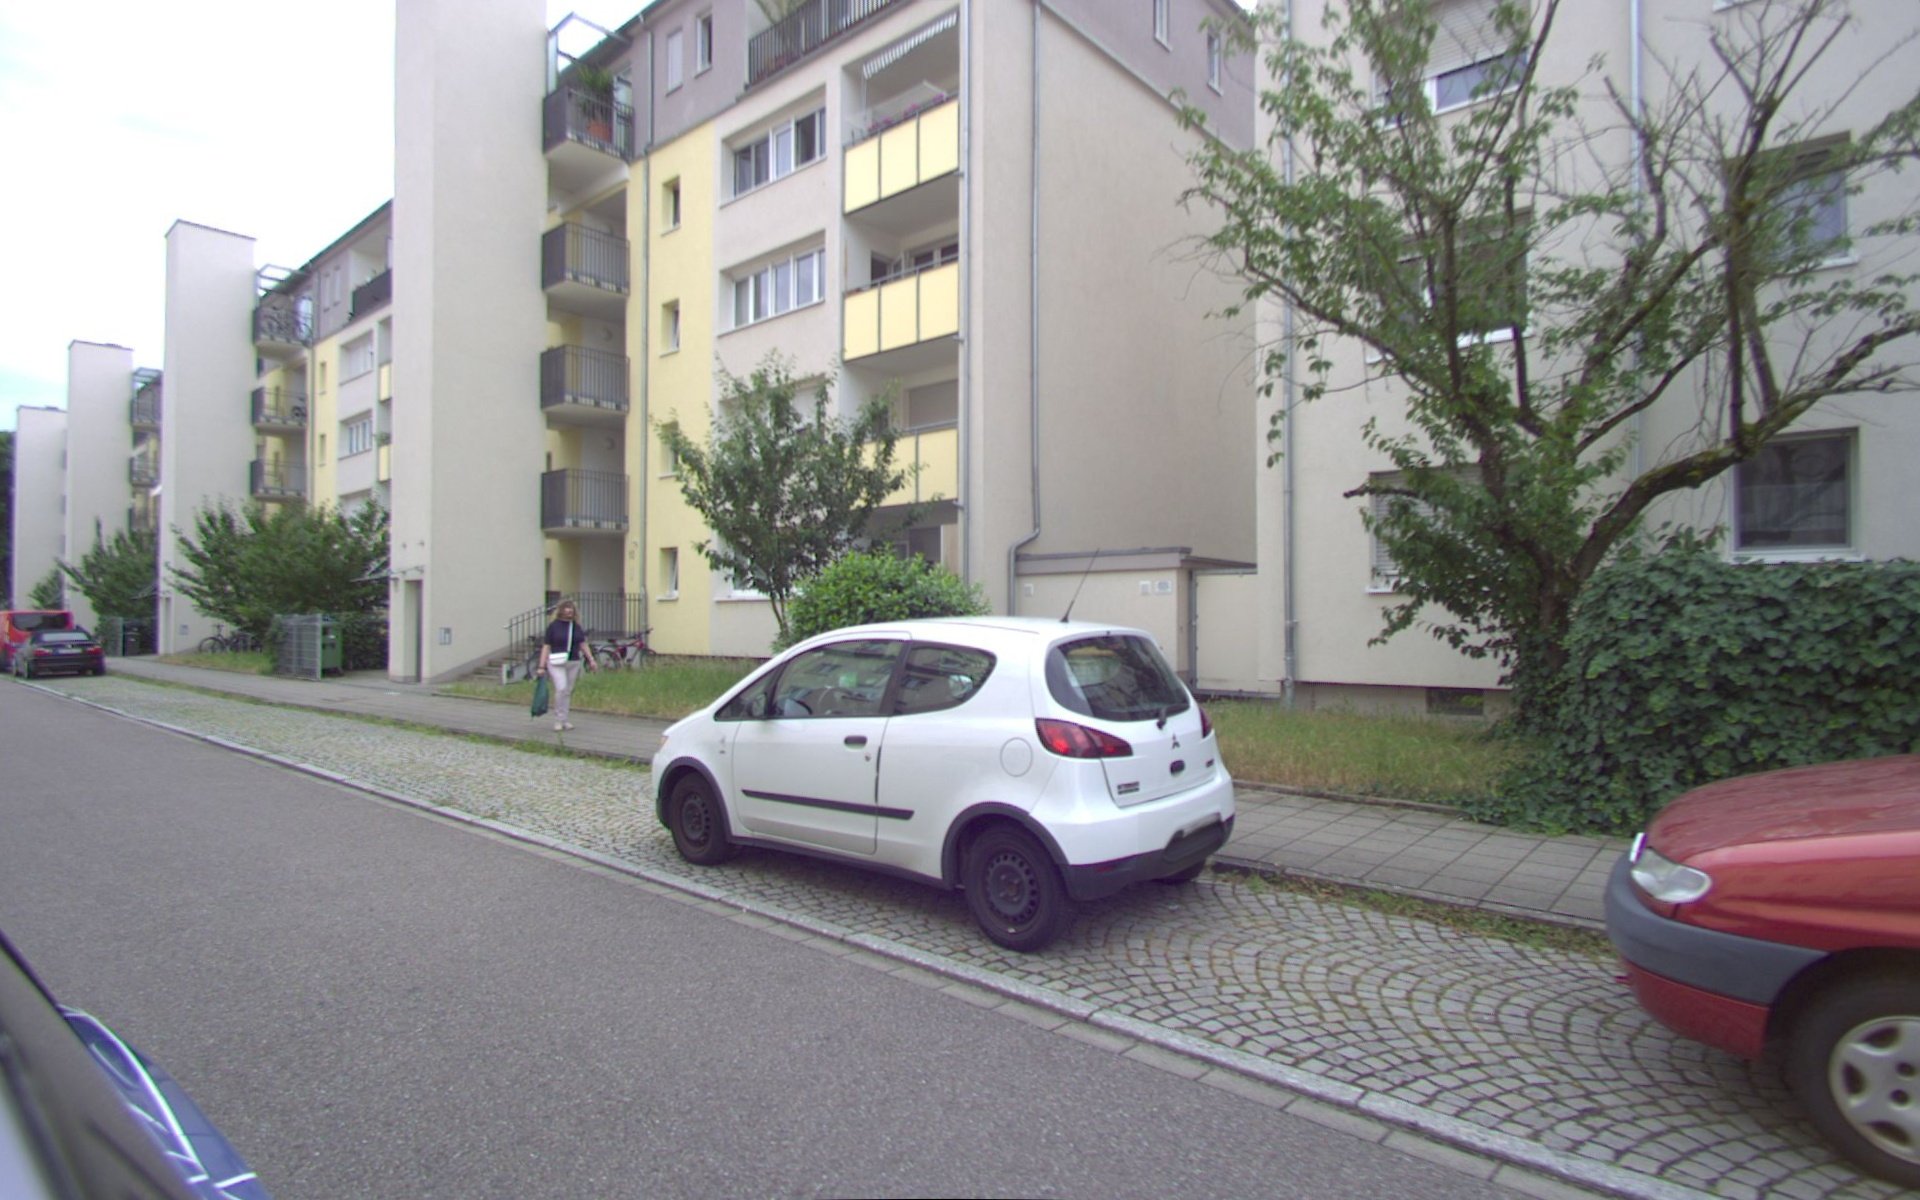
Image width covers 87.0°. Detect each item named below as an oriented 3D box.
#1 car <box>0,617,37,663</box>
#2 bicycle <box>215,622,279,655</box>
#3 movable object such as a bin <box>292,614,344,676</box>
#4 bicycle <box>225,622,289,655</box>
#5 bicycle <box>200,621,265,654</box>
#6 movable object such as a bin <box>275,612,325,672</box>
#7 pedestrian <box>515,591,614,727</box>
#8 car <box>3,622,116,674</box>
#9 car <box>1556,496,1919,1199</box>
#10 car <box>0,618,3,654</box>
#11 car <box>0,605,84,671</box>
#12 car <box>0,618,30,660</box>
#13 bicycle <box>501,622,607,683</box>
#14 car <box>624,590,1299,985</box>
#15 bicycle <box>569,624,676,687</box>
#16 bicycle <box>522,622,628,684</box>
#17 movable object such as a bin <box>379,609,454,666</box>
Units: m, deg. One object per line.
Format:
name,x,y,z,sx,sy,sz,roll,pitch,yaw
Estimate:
car,-34.859,1.442,36.648,4.052,1.582,1.702,-1,1,42
bicycle,-25.702,1.365,36.522,0.570,1.127,1.814,-1,-1,43
movable object such as a bin,-15.428,1.063,24.321,0.794,1.440,1.289,0,-1,-45
bicycle,-24.939,1.353,35.912,1.812,1.127,0.571,0,-1,-42
bicycle,-26.399,1.365,36.747,0.604,1.127,1.816,-1,-1,40
movable object such as a bin,-16.466,1.023,25.239,1.288,1.440,0.794,-1,-1,44
pedestrian,-4.975,0.720,12.728,0.945,1.622,0.792,-1,-1,37
car,-25.974,1.326,29.145,4.359,1.333,1.851,-1,0,40
car,4.094,0.603,2.410,4.357,1.784,1.937,-1,0,39
car,-42.783,1.566,43.921,3.896,1.542,1.635,-1,1,44
car,-30.599,1.188,33.093,4.917,1.968,2.130,-1,1,40
car,-38.532,1.527,40.073,4.857,1.582,1.816,-1,1,39
bicycle,-8.128,1.030,20.367,0.621,1.150,2.007,-1,-1,32
car,-0.207,0.782,6.055,3.869,1.582,1.702,-1,1,42
bicycle,-6.590,1.057,19.853,0.622,1.150,2.003,-1,-1,38
bicycle,-7.584,1.025,20.044,0.621,1.150,2.007,-1,-1,31
movable object such as a bin,-14.546,0.982,27.092,1.371,1.475,1.338,-1,0,40
